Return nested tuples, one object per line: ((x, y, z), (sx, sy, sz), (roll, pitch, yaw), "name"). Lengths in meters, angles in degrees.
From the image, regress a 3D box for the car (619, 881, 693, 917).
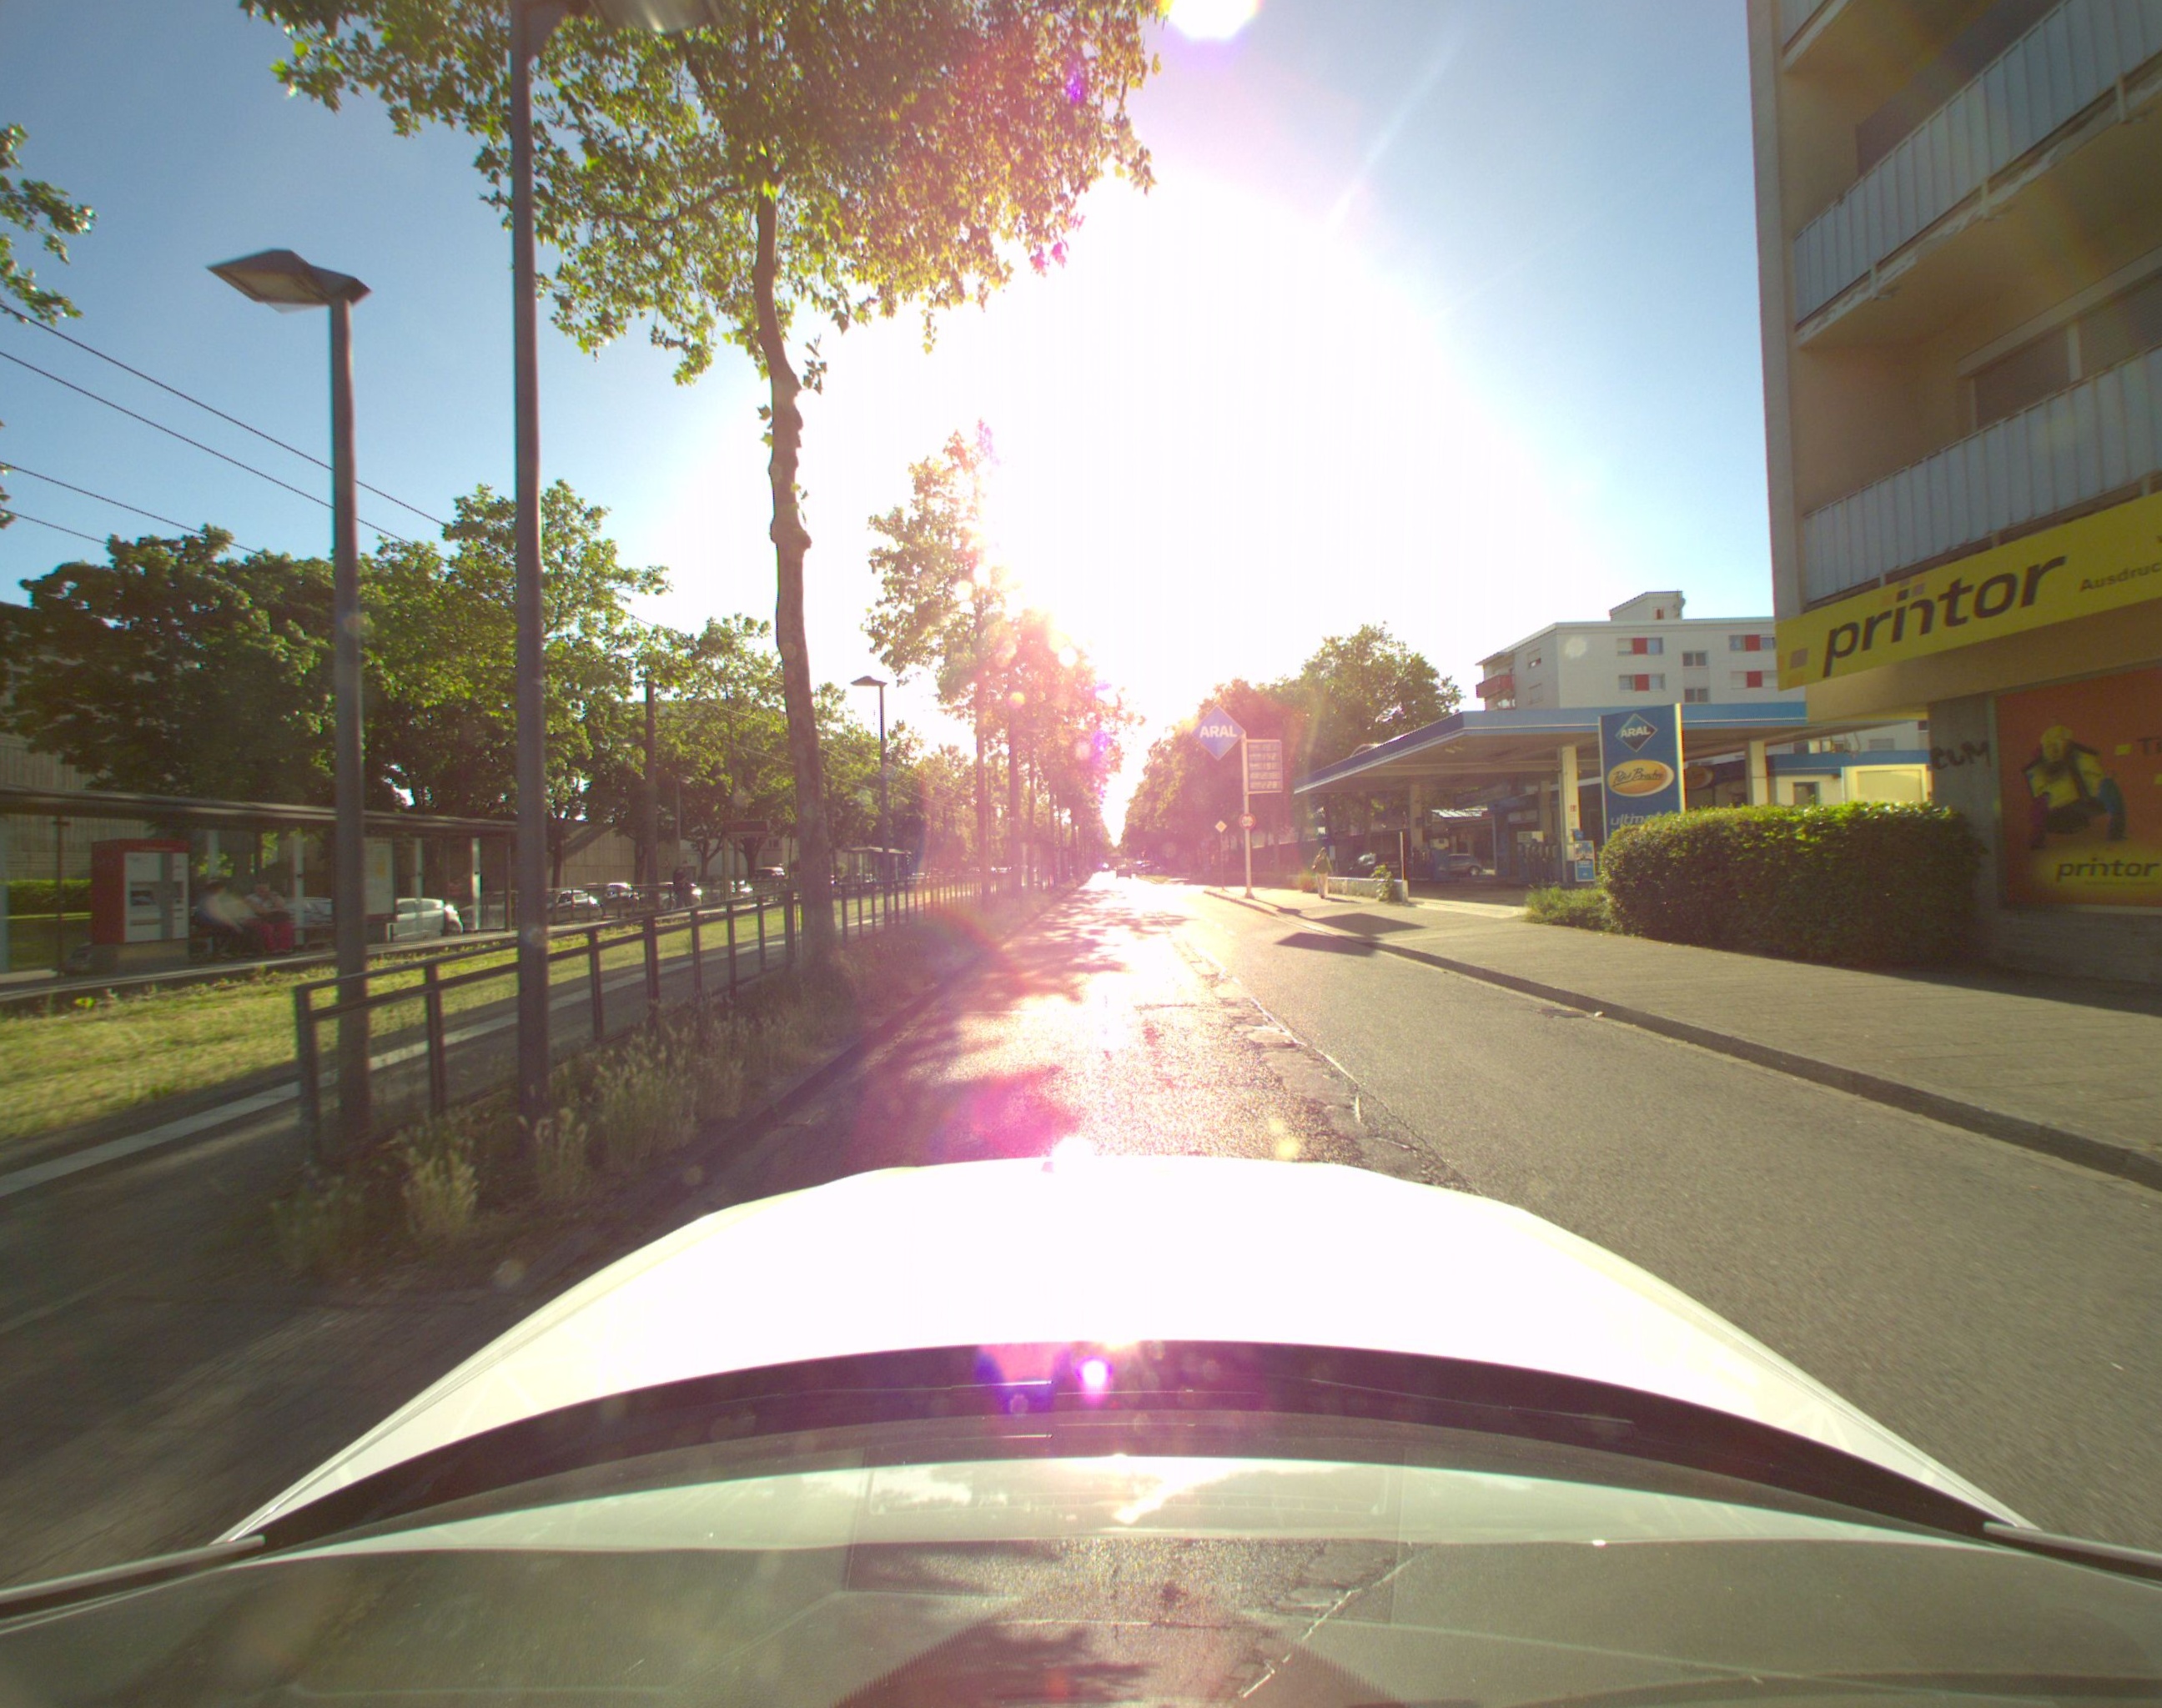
((-21.804, 2.289, 41.933), (1.588, 1.636, 3.931), (-2, -1, 1), "car")

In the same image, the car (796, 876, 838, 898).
((-20.890, 2.562, 64.517), (1.706, 1.546, 3.938), (-2, -1, 4), "car")

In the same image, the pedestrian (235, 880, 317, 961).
((-14.102, 1.145, 14.286), (0.691, 1.342, 0.735), (-2, -1, 3), "pedestrian")

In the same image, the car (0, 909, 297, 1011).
((-17.113, 1.859, 15.145), (1.600, 1.427, 3.536), (-2, -1, 0), "car")

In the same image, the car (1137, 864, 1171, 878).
((9.321, 2.137, 103.738), (4.011, 1.469, 1.744), (-4, -1, -30), "car")

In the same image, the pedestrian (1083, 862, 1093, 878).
((0.758, 1.775, 89.999), (0.835, 1.722, 0.833), (-3, -1, 16), "pedestrian")

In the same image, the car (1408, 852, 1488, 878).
((23.430, 0.717, 52.058), (4.177, 1.531, 1.983), (-2, -1, 0), "car")

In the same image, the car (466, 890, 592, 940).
((-19.353, 2.096, 28.776), (1.587, 1.444, 3.932), (-2, -1, 3), "car")

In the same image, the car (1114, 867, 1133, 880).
((4.770, 2.186, 91.751), (1.915, 1.411, 4.001), (-1, -1, 1), "car")

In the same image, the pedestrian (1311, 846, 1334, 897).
((8.218, 0.599, 27.702), (0.601, 1.701, 0.553), (-2, -1, 5), "pedestrian")

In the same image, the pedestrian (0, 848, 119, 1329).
((-3.795, 0.757, 2.650), (0.657, 1.529, 0.538), (-2, -1, -6), "pedestrian")

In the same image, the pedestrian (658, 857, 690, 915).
((-13.423, 1.037, 26.876), (0.717, 1.867, 0.637), (-1, -1, 2), "pedestrian")

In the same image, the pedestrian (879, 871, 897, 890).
((-12.855, 1.780, 54.276), (0.829, 1.261, 0.804), (-2, -1, 30), "pedestrian")

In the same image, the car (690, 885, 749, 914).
((-21.359, 2.675, 48.227), (1.588, 1.488, 4.020), (-2, -1, 1), "car")

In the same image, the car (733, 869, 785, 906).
((-20.993, 2.128, 53.247), (1.708, 2.262, 3.934), (-2, -1, 1), "car")

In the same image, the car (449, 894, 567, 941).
((-21.725, 2.363, 31.077), (1.587, 1.444, 3.932), (-2, -1, 3), "car")

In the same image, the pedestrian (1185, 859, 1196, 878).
((11.225, 1.490, 83.473), (0.926, 1.885, 0.797), (-2, -1, -12), "pedestrian")

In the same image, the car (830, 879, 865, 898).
((-21.270, 3.138, 74.230), (1.707, 1.546, 4.203), (-2, -1, 3), "car")

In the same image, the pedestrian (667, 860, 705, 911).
((-13.412, 1.050, 27.648), (0.879, 1.690, 0.755), (-1, -1, 2), "pedestrian")

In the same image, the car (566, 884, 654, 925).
((-21.547, 2.279, 37.428), (1.587, 1.633, 3.932), (-2, -1, 3), "car")

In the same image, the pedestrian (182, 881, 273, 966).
((-14.060, 1.130, 13.433), (0.726, 1.342, 0.777), (-2, -1, 15), "pedestrian")

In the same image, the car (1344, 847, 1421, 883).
((13.524, 0.509, 36.750), (1.717, 1.463, 3.999), (-2, -1, -4), "car")

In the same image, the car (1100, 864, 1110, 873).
((4.557, 2.679, 152.313), (1.842, 1.535, 3.868), (-2, -1, 2), "car")

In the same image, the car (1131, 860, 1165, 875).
((9.407, 1.881, 114.068), (4.694, 1.853, 1.809), (-2, -1, -39), "car")

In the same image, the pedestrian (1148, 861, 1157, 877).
((8.104, 1.685, 92.146), (0.715, 1.706, 0.647), (-3, -2, -33), "pedestrian")

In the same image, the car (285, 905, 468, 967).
((-19.675, 2.238, 23.000), (1.545, 1.354, 4.002), (-2, -1, 3), "car")
